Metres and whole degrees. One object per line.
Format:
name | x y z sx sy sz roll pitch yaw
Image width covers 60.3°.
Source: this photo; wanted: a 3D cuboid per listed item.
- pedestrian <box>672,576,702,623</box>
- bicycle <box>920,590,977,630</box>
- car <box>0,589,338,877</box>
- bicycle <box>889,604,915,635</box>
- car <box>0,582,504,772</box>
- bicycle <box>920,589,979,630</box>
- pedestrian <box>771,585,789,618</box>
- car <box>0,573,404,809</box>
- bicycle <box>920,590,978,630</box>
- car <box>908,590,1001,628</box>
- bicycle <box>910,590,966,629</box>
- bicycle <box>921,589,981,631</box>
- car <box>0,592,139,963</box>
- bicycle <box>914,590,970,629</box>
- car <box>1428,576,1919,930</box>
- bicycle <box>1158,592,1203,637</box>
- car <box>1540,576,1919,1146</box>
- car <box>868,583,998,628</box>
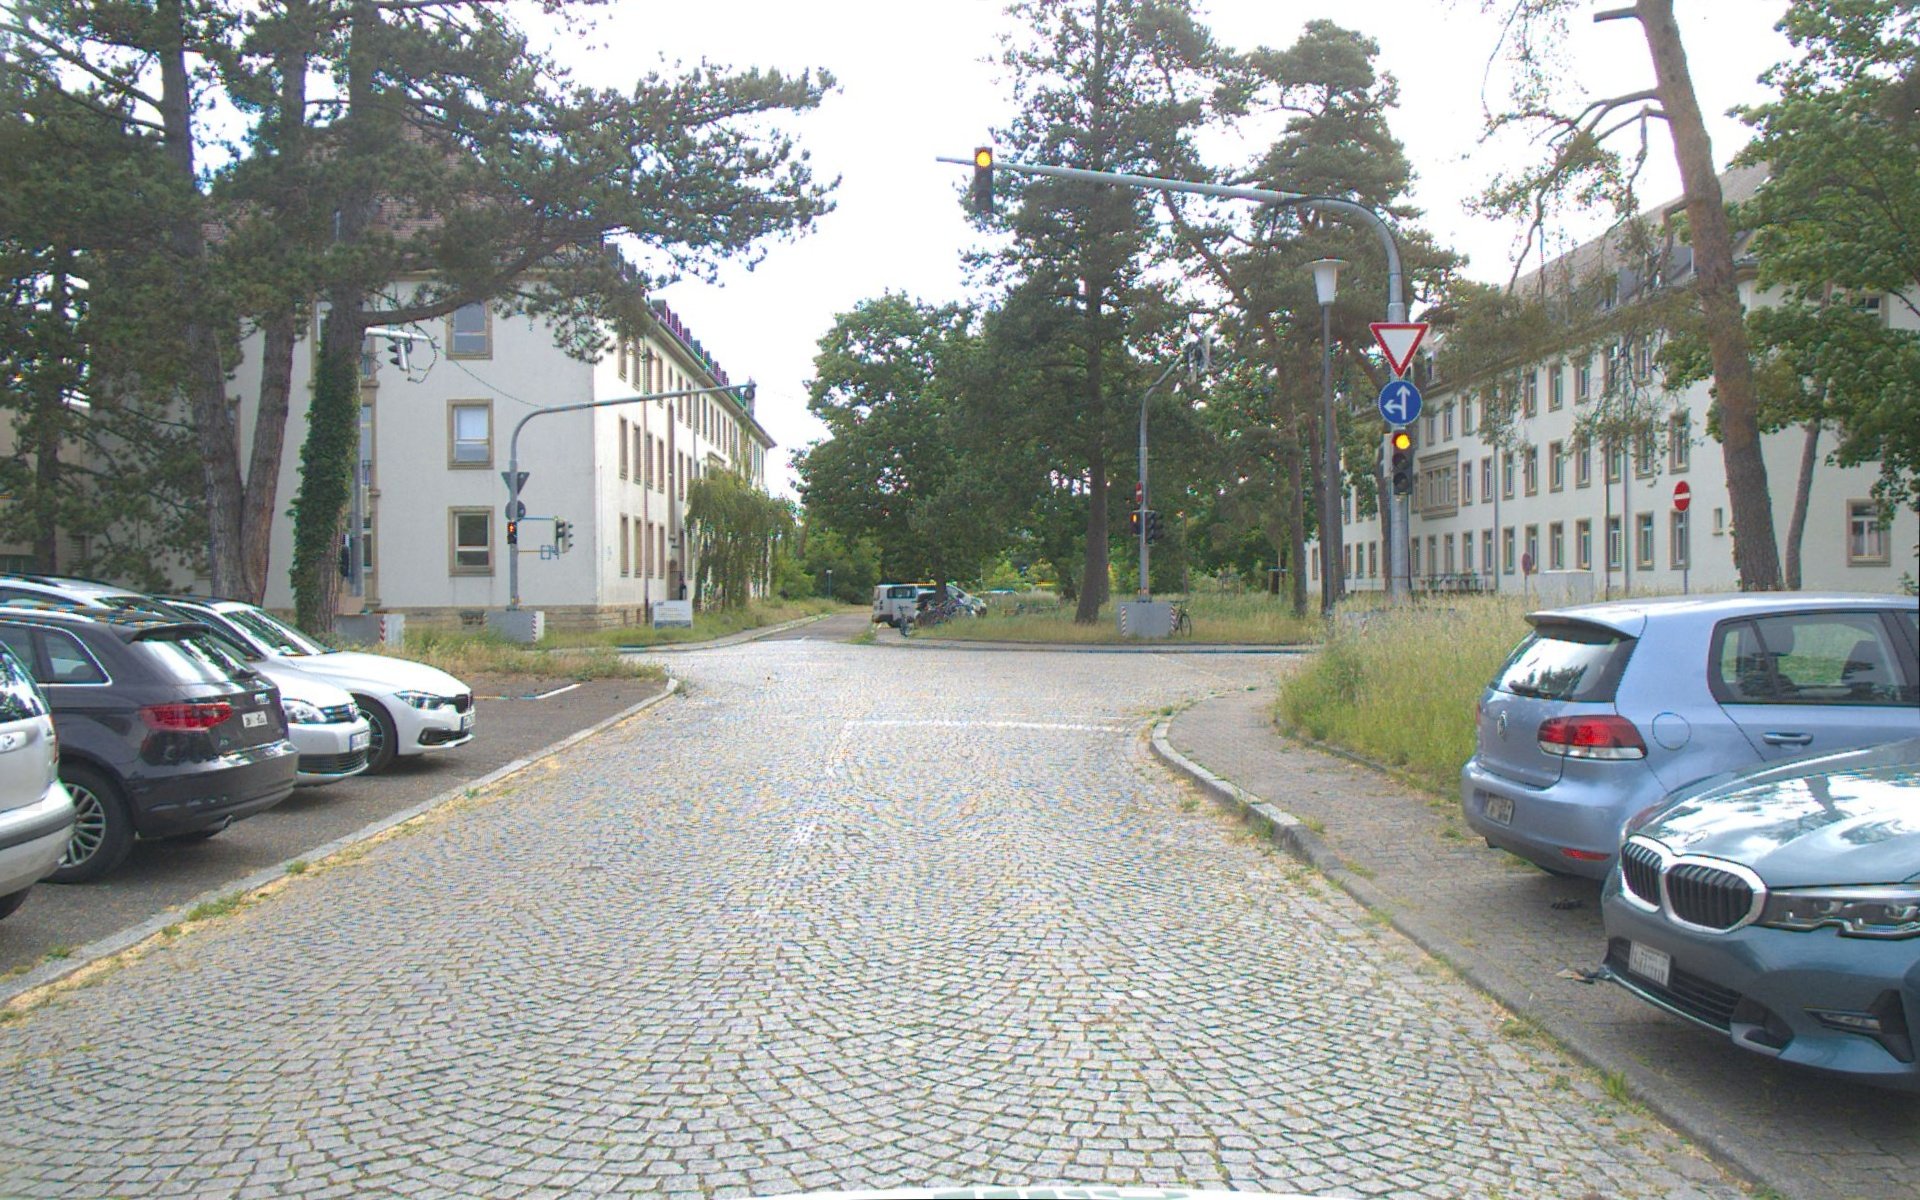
pedestrian | -11.903 -0.015 72.236 1.064 2.049 1.022 -1 0 4
bicycle | -0.402 0.350 59.141 2.028 1.402 0.620 -1 0 -1
car | -5.863 0.662 9.467 3.907 1.452 1.750 2 0 -3
bicycle | -1.920 0.642 55.210 0.605 0.980 2.078 -1 0 5
car | -6.573 0.642 14.678 4.557 1.469 1.800 2 0 -5
bicycle | -0.369 0.344 57.720 2.028 1.402 0.620 -1 0 -1
pedestrian | -11.325 0.068 104.080 0.938 2.049 0.796 -1 0 8
car | -6.373 0.615 12.284 3.910 1.574 1.722 2 0 -6
bicycle | -0.389 0.346 58.345 2.028 1.402 0.620 -1 0 -1
car | -0.272 0.367 71.575 3.857 1.571 1.997 -1 0 -6
bicycle | -0.819 0.349 61.414 2.028 1.402 0.620 -1 0 -1
bicycle | -0.308 0.343 57.051 2.028 1.402 0.620 -1 0 -1
car | -5.683 0.663 6.865 3.607 1.478 1.806 2 0 -6
bicycle | -0.645 0.346 59.933 2.028 1.402 0.620 -1 0 -1
car | 4.363 0.634 8.026 3.688 1.451 1.605 -2 1 -2
bicycle | 5.979 0.390 44.952 0.890 1.197 1.873 -1 0 -2
car | 4.551 0.661 5.469 4.664 1.508 1.760 -1 0 -5
car | -1.238 0.215 74.919 5.595 1.944 2.222 -1 0 -14
